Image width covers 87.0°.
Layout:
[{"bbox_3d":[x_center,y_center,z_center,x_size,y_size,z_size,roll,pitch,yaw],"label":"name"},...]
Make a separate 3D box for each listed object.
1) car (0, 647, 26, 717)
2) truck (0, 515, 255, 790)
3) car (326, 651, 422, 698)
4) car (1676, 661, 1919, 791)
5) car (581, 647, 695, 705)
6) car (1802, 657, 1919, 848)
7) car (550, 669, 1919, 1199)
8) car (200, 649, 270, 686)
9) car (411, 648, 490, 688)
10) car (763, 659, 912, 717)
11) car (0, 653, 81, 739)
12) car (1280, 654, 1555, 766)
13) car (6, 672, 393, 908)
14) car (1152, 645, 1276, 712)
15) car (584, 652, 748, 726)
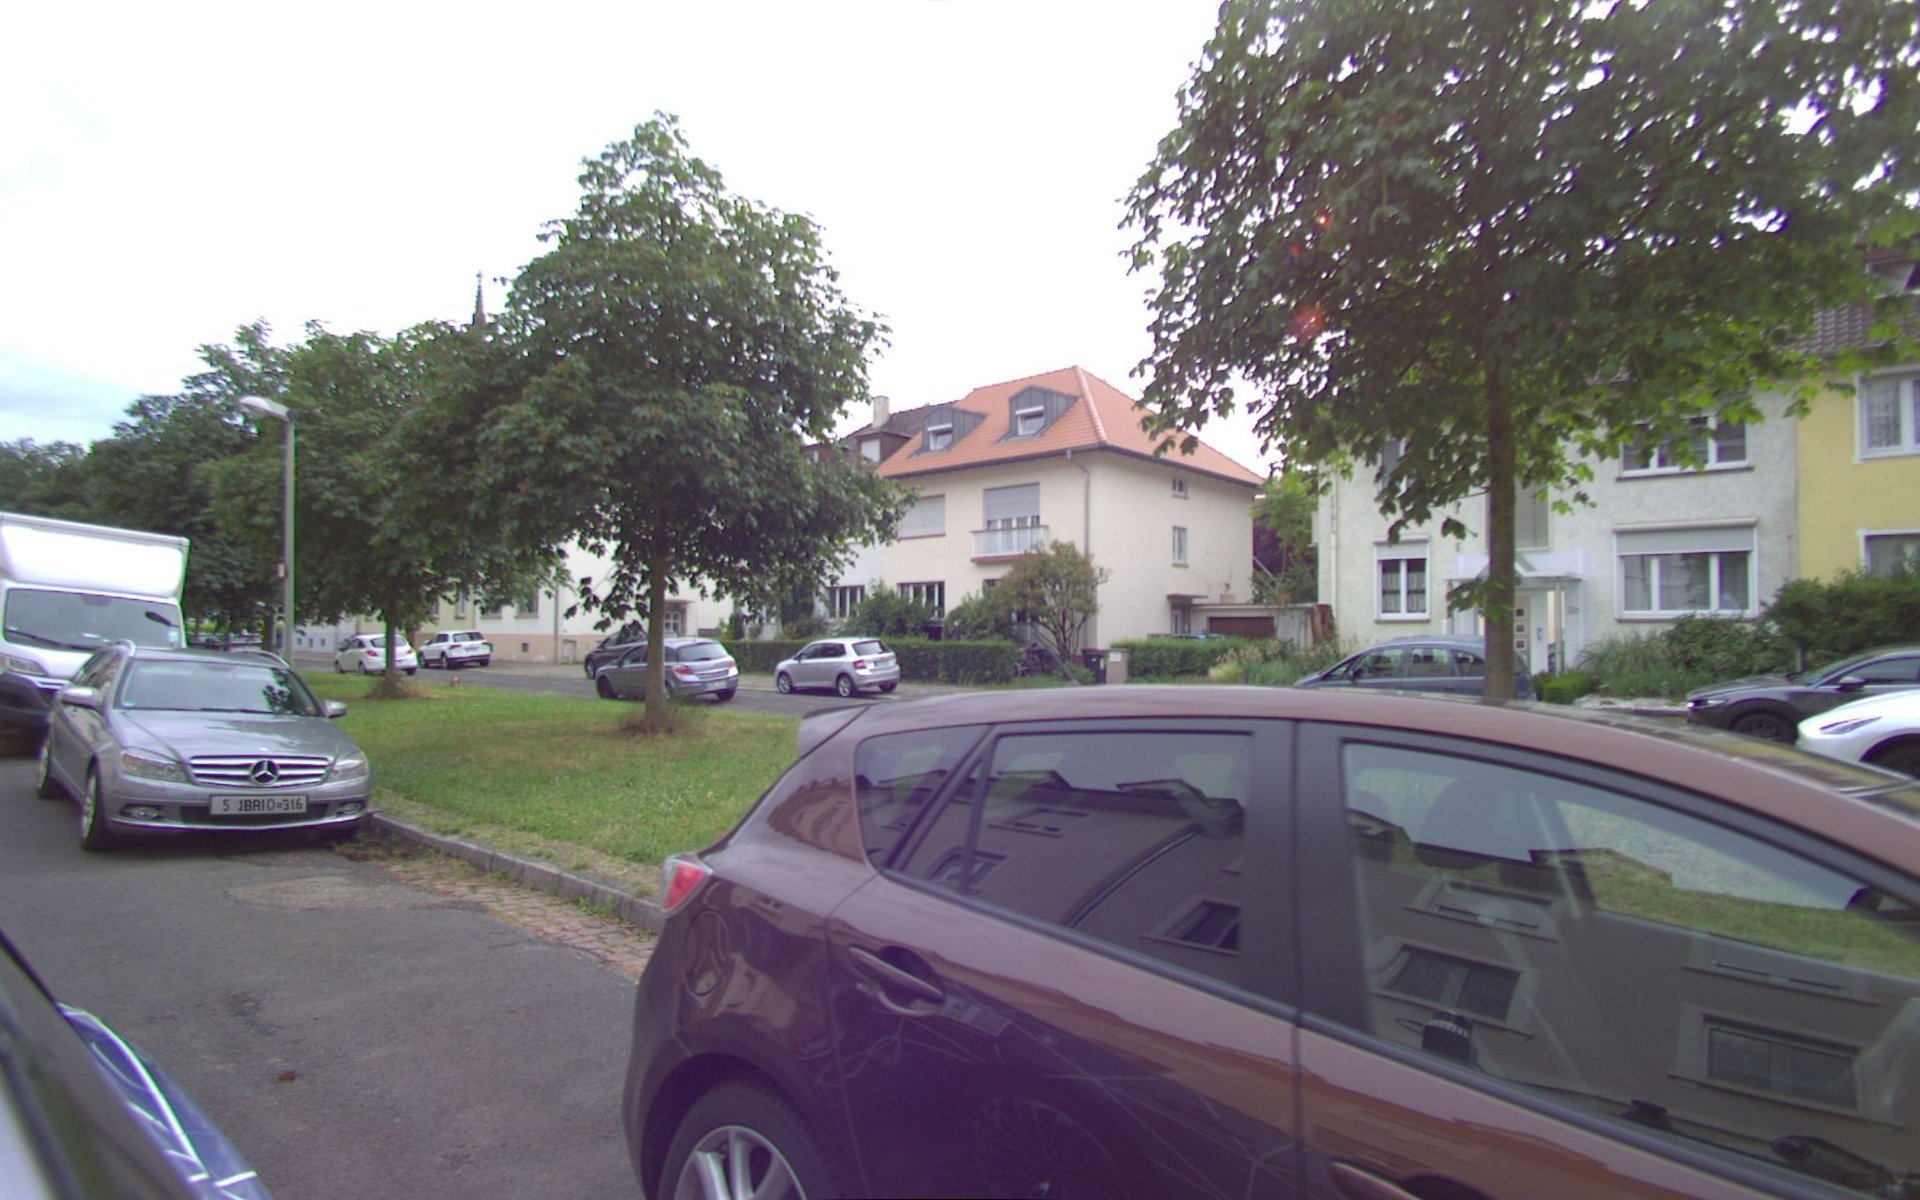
[{"bbox_3d":[-23.006,1.862,23.308,4.148,1.526,1.622,-3,-4,40],"label":"car"},{"bbox_3d":[-12.467,0.841,14.189,7.110,2.980,2.412,-3,-9,42],"label":"truck"},{"bbox_3d":[-20.582,2.563,35.473,4.005,1.499,1.780,-3,-3,42],"label":"car"},{"bbox_3d":[12.052,1.595,13.246,4.165,1.511,1.696,-3,-2,42],"label":"car"},{"bbox_3d":[-10.830,2.495,33.868,4.100,1.686,1.780,-3,0,42],"label":"car"},{"bbox_3d":[9.860,1.245,7.961,4.882,1.578,1.876,-3,-4,42],"label":"car"},{"bbox_3d":[1.195,0.911,1.567,4.161,1.469,1.692,-3,-9,42],"label":"car"},{"bbox_3d":[-34.913,3.231,48.688,4.005,1.652,1.943,-3,-3,42],"label":"car"},{"bbox_3d":[-22.382,2.951,44.382,4.005,1.619,1.780,-3,-3,42],"label":"car"},{"bbox_3d":[-3.293,2.268,26.836,3.940,1.365,1.780,-3,-3,42],"label":"car"},{"bbox_3d":[-18.738,1.834,19.763,4.148,1.526,1.622,-3,-8,40],"label":"car"},{"bbox_3d":[7.675,1.768,17.166,3.883,1.614,1.696,-3,-2,41],"label":"car"},{"bbox_3d":[-6.619,1.412,8.607,4.447,1.469,1.692,-3,-9,42],"label":"car"},{"bbox_3d":[7.790,2.330,30.860,2.000,1.741,3.944,-3,-2,42],"label":"car"},{"bbox_3d":[-6.779,1.970,23.128,4.005,1.499,1.780,-3,-3,42],"label":"car"}]
